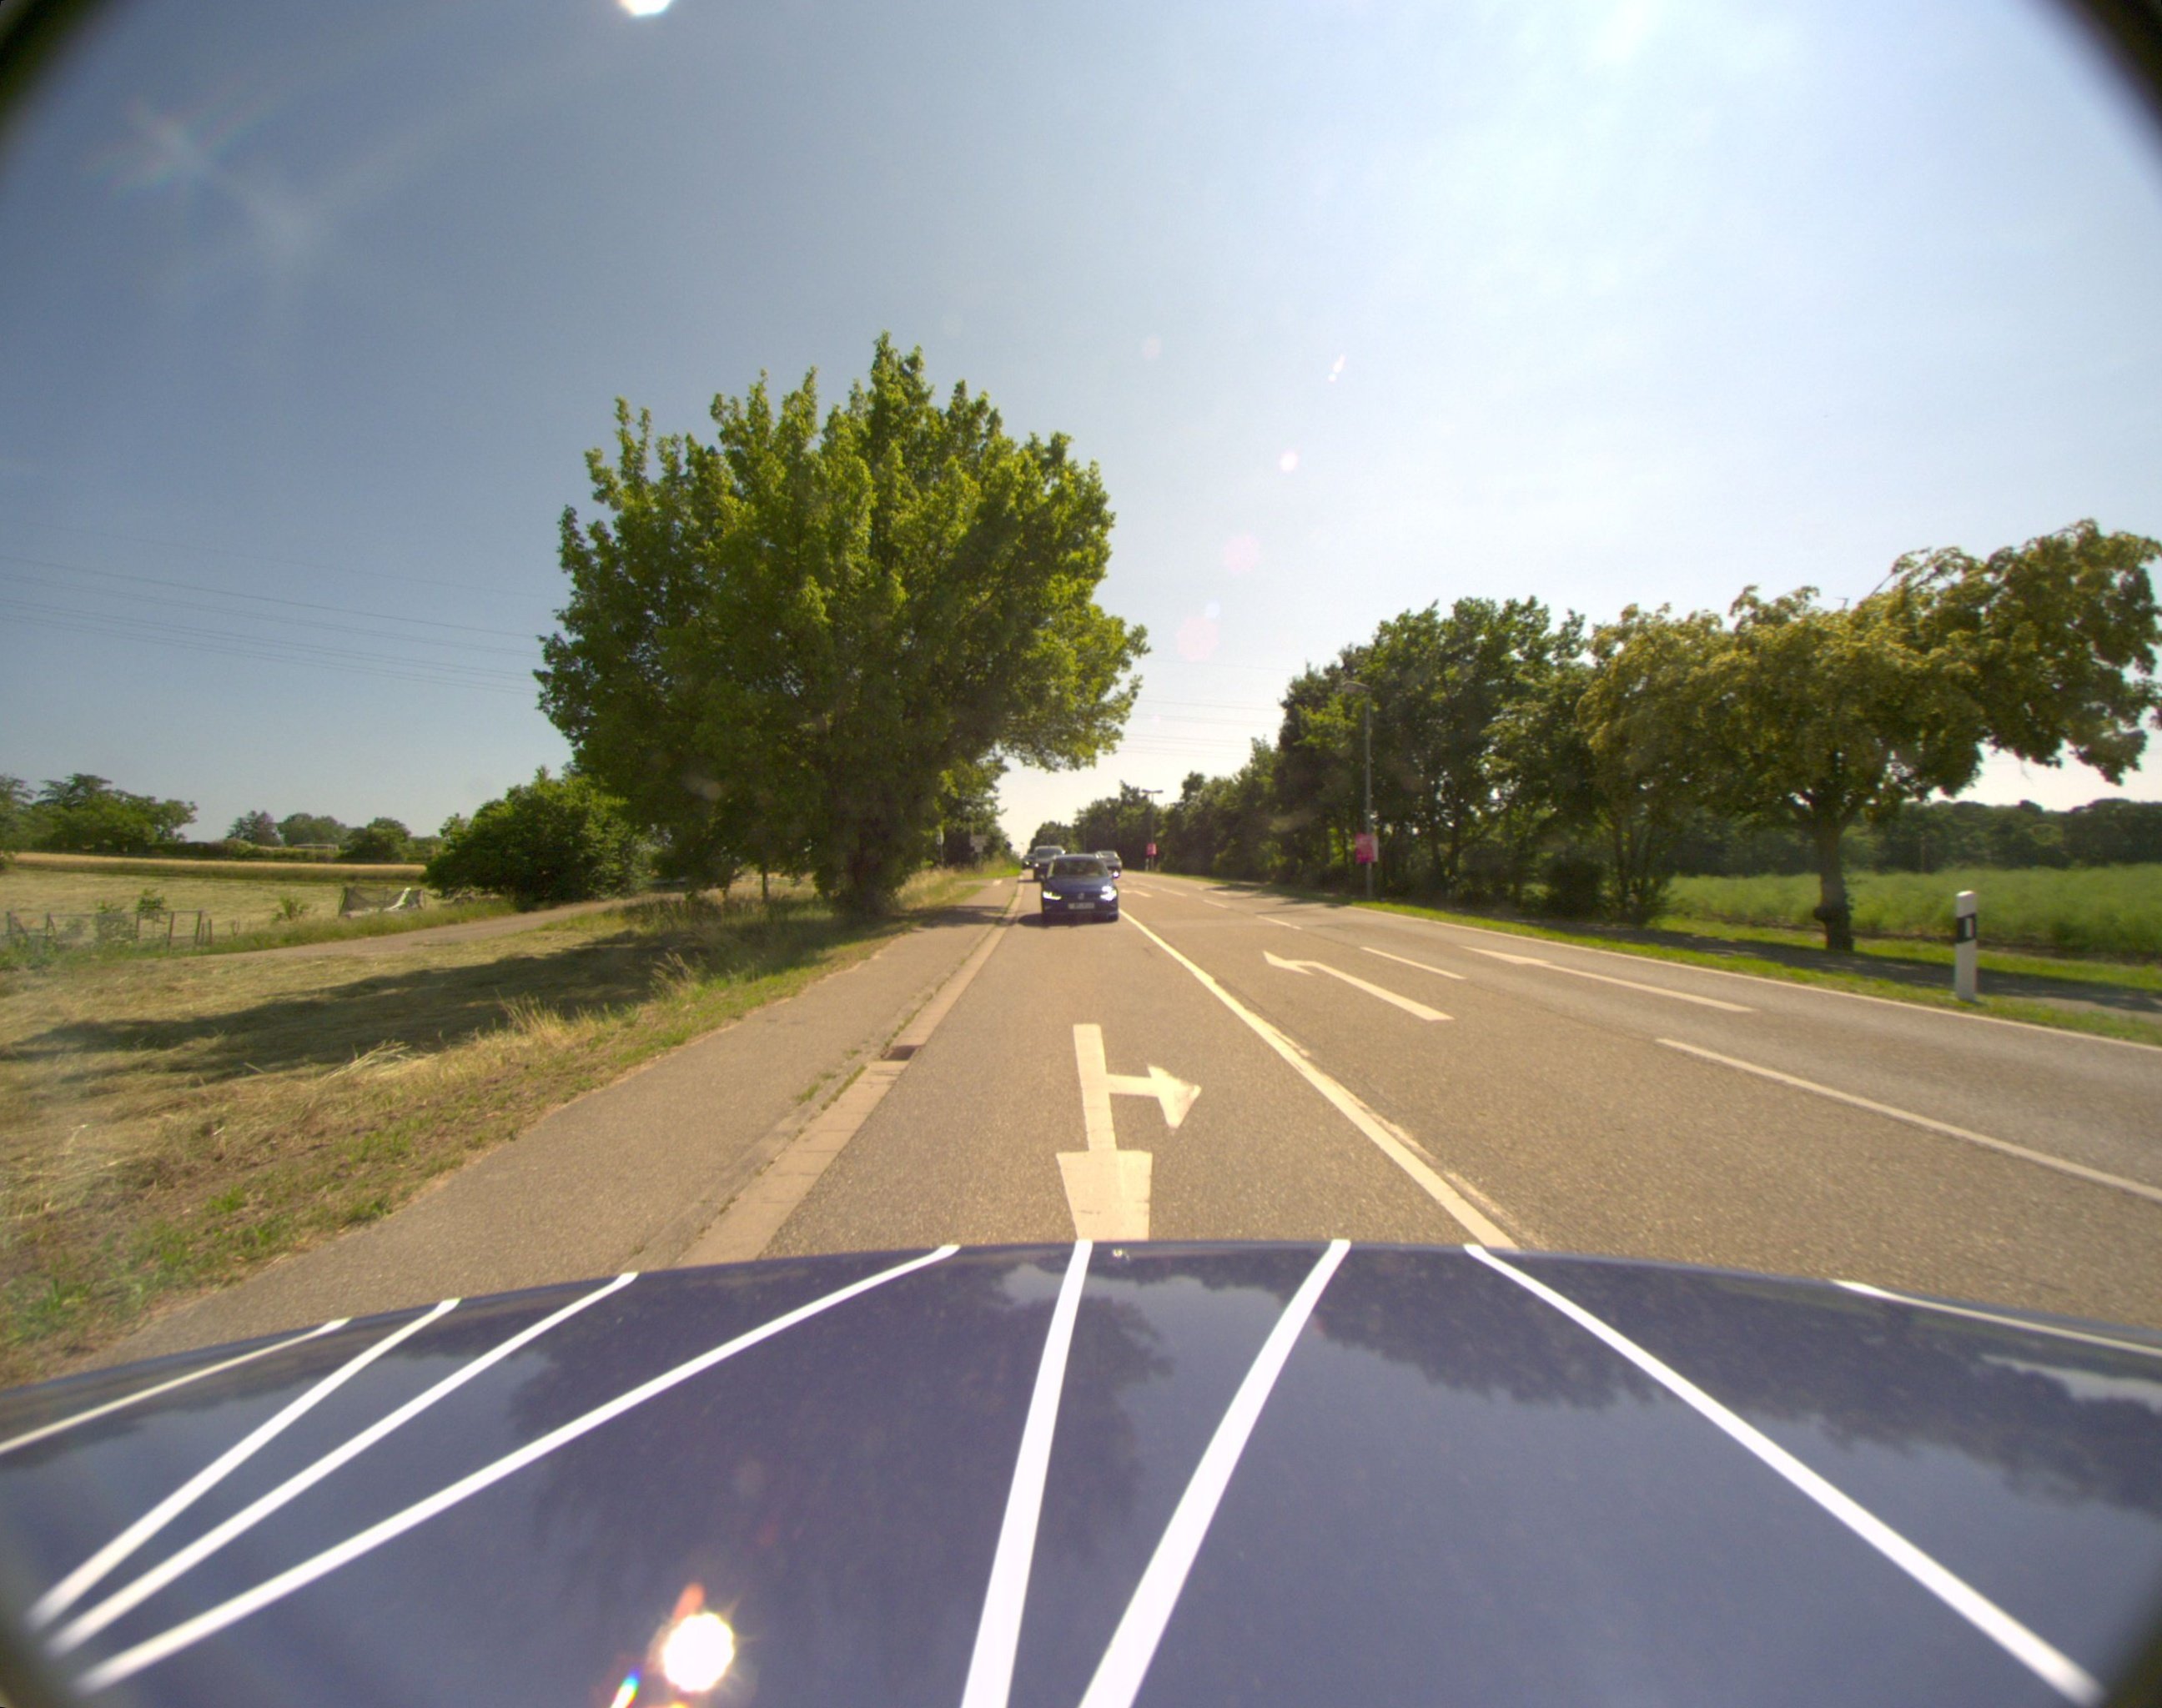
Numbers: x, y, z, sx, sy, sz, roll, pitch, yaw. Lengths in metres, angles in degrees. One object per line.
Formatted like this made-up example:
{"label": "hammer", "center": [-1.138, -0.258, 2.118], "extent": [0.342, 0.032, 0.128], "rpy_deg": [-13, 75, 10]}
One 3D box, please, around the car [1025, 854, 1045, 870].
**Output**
{"label": "car", "center": [-4.792, 0.812, 78.577], "extent": [1.766, 1.530, 3.681], "rpy_deg": [-2, 2, -8]}

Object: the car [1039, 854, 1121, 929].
{"label": "car", "center": [-0.110, 0.824, 19.022], "extent": [1.765, 1.520, 4.420], "rpy_deg": [-2, 1, -3]}

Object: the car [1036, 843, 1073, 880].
{"label": "car", "center": [-1.594, 0.453, 43.810], "extent": [1.765, 1.953, 4.260], "rpy_deg": [-2, -1, -6]}

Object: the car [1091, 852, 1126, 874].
{"label": "car", "center": [1.996, 0.678, 57.389], "extent": [1.882, 1.563, 4.469], "rpy_deg": [-1, -1, -8]}

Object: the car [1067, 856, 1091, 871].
{"label": "car", "center": [-0.203, 0.950, 74.538], "extent": [1.654, 1.425, 3.893], "rpy_deg": [-1, -1, -11]}
